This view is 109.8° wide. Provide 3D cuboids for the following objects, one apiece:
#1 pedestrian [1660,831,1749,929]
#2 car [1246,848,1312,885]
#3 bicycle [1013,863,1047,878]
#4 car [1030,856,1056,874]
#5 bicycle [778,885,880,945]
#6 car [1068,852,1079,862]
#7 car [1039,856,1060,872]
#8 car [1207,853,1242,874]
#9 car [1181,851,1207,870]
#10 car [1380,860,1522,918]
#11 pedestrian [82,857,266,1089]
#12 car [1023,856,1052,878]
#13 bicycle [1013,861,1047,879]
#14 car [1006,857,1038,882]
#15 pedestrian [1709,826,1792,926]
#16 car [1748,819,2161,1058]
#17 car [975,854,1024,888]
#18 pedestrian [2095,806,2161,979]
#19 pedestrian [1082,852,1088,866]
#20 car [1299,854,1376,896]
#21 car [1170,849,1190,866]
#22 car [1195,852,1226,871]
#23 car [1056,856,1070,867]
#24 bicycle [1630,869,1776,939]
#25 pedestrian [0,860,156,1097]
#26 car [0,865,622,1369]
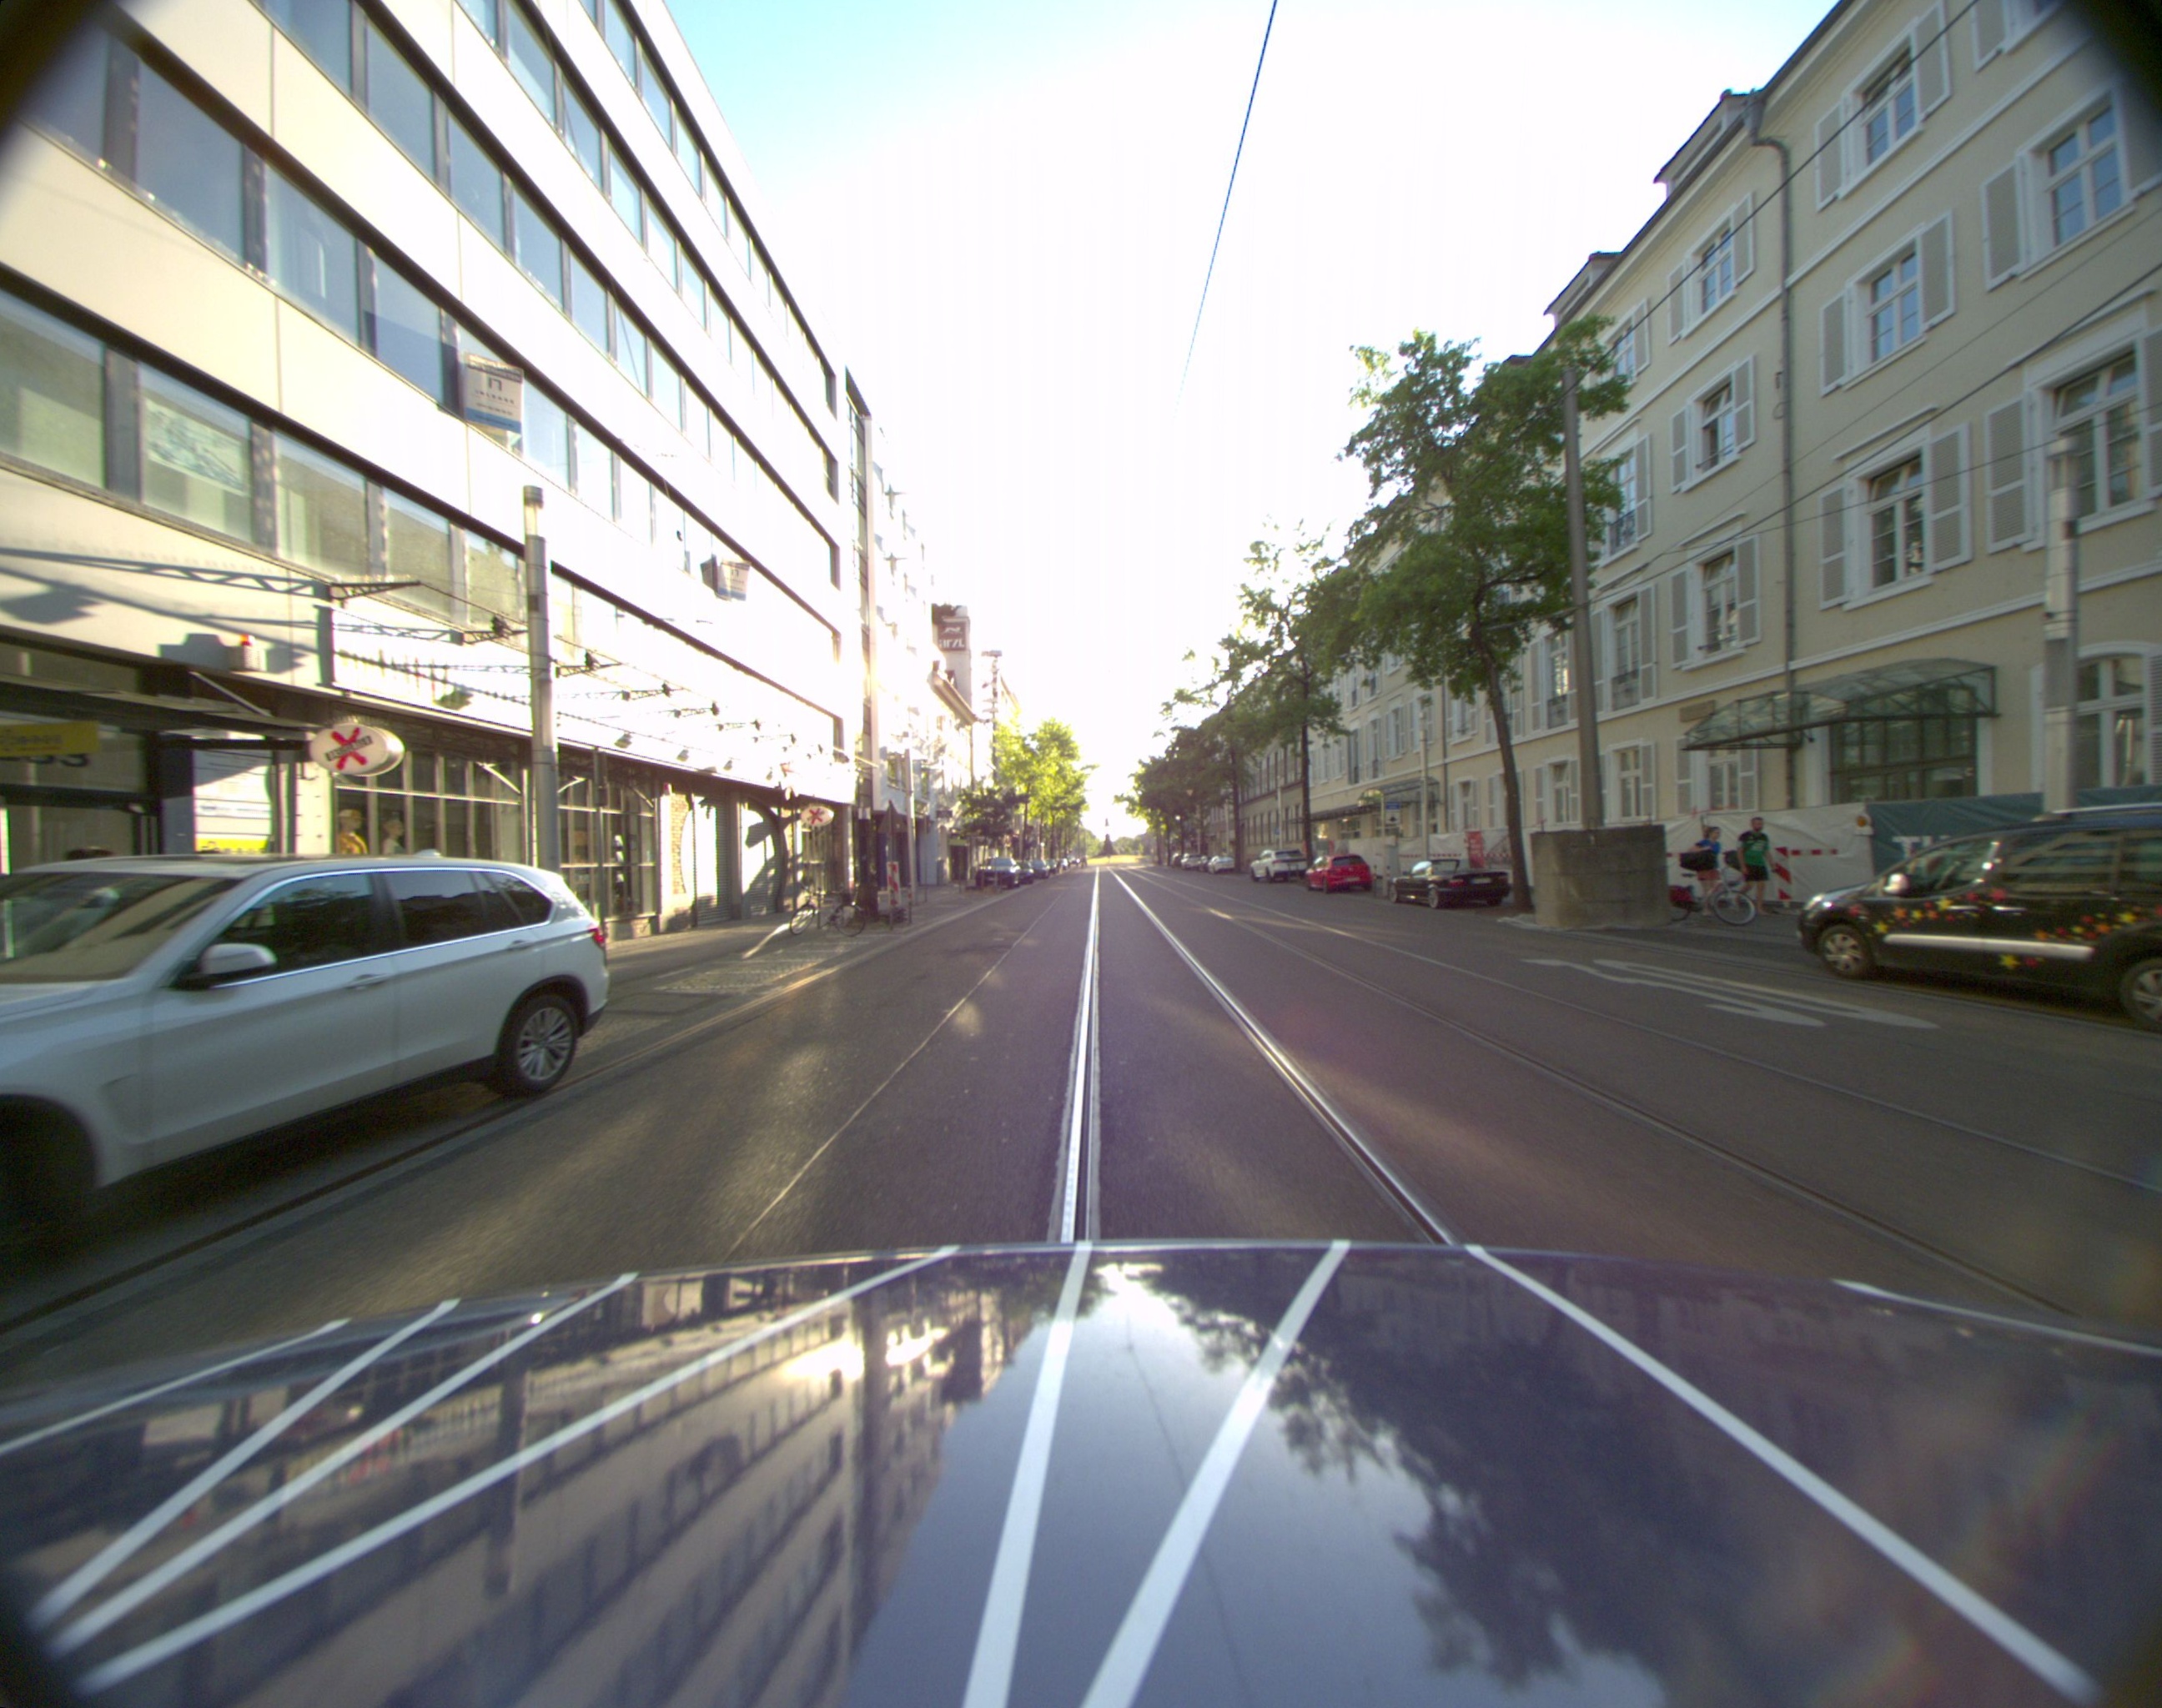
[{"bbox_3d":[11.921,0.485,14.559,0.867,1.771,0.884,-4,1,1],"label":"pedestrian"},{"bbox_3d":[10.177,0.599,39.476,1.870,1.679,4.950,-4,0,-2],"label":"car"},{"bbox_3d":[-3.571,1.179,53.289,2.249,0.982,0.615,-1,0,3],"label":"bicycle"},{"bbox_3d":[-3.331,0.966,67.102,1.869,1.502,4.287,1,0,2],"label":"car"},{"bbox_3d":[-5.198,1.237,15.709,1.816,1.128,0.841,1,2,9],"label":"bicycle"},{"bbox_3d":[-1.327,0.546,138.264,1.827,1.603,3.796,-1,0,2],"label":"car"},{"bbox_3d":[-3.124,0.951,75.768,1.798,1.502,3.986,1,0,2],"label":"car"},{"bbox_3d":[10.868,0.700,57.808,1.897,1.458,4.617,-4,0,2],"label":"car"},{"bbox_3d":[11.403,0.600,77.165,1.952,1.731,4.766,-4,0,1],"label":"car"},{"bbox_3d":[9.953,0.875,20.871,1.722,1.238,4.508,-4,0,1],"label":"car"},{"bbox_3d":[-7.508,0.947,6.323,0.707,1.820,0.635,-1,1,1],"label":"pedestrian"},{"bbox_3d":[-3.318,0.973,58.660,1.770,1.502,4.287,-2,0,2],"label":"car"},{"bbox_3d":[-3.704,1.167,55.349,2.325,1.181,0.751,-1,0,3],"label":"bicycle"},{"bbox_3d":[-3.848,0.962,48.837,1.871,1.502,4.242,1,0,-6],"label":"car"},{"bbox_3d":[12.771,0.407,14.516,0.721,1.802,0.876,-4,1,1],"label":"pedestrian"},{"bbox_3d":[9.316,0.619,7.339,1.862,1.821,4.560,-2,0,3],"label":"car"},{"bbox_3d":[-4.301,0.872,40.992,1.985,1.678,4.874,1,0,1],"label":"car"},{"bbox_3d":[11.555,0.382,7.837,0.776,1.782,0.984,-4,0,3],"label":"pedestrian"},{"bbox_3d":[0.571,0.696,102.296,0.705,1.858,0.792,-2,1,0],"label":"pedestrian"},{"bbox_3d":[9.941,0.778,29.735,1.664,1.397,4.141,-4,0,2],"label":"car"},{"bbox_3d":[11.964,0.415,92.031,1.931,1.946,4.766,-1,0,1],"label":"car"},{"bbox_3d":[11.164,0.638,65.567,1.745,1.458,4.342,-4,0,-1],"label":"car"},{"bbox_3d":[-2.346,0.982,99.962,1.564,1.391,3.698,1,0,2],"label":"car"},{"bbox_3d":[11.384,0.867,14.010,0.760,1.115,2.045,-5,0,-9],"label":"bicycle"},{"bbox_3d":[-8.301,0.973,6.187,0.690,1.820,0.635,-1,1,1],"label":"pedestrian"},{"bbox_3d":[-4.916,0.980,3.980,2.028,1.727,4.906,1,0,0],"label":"car"}]
